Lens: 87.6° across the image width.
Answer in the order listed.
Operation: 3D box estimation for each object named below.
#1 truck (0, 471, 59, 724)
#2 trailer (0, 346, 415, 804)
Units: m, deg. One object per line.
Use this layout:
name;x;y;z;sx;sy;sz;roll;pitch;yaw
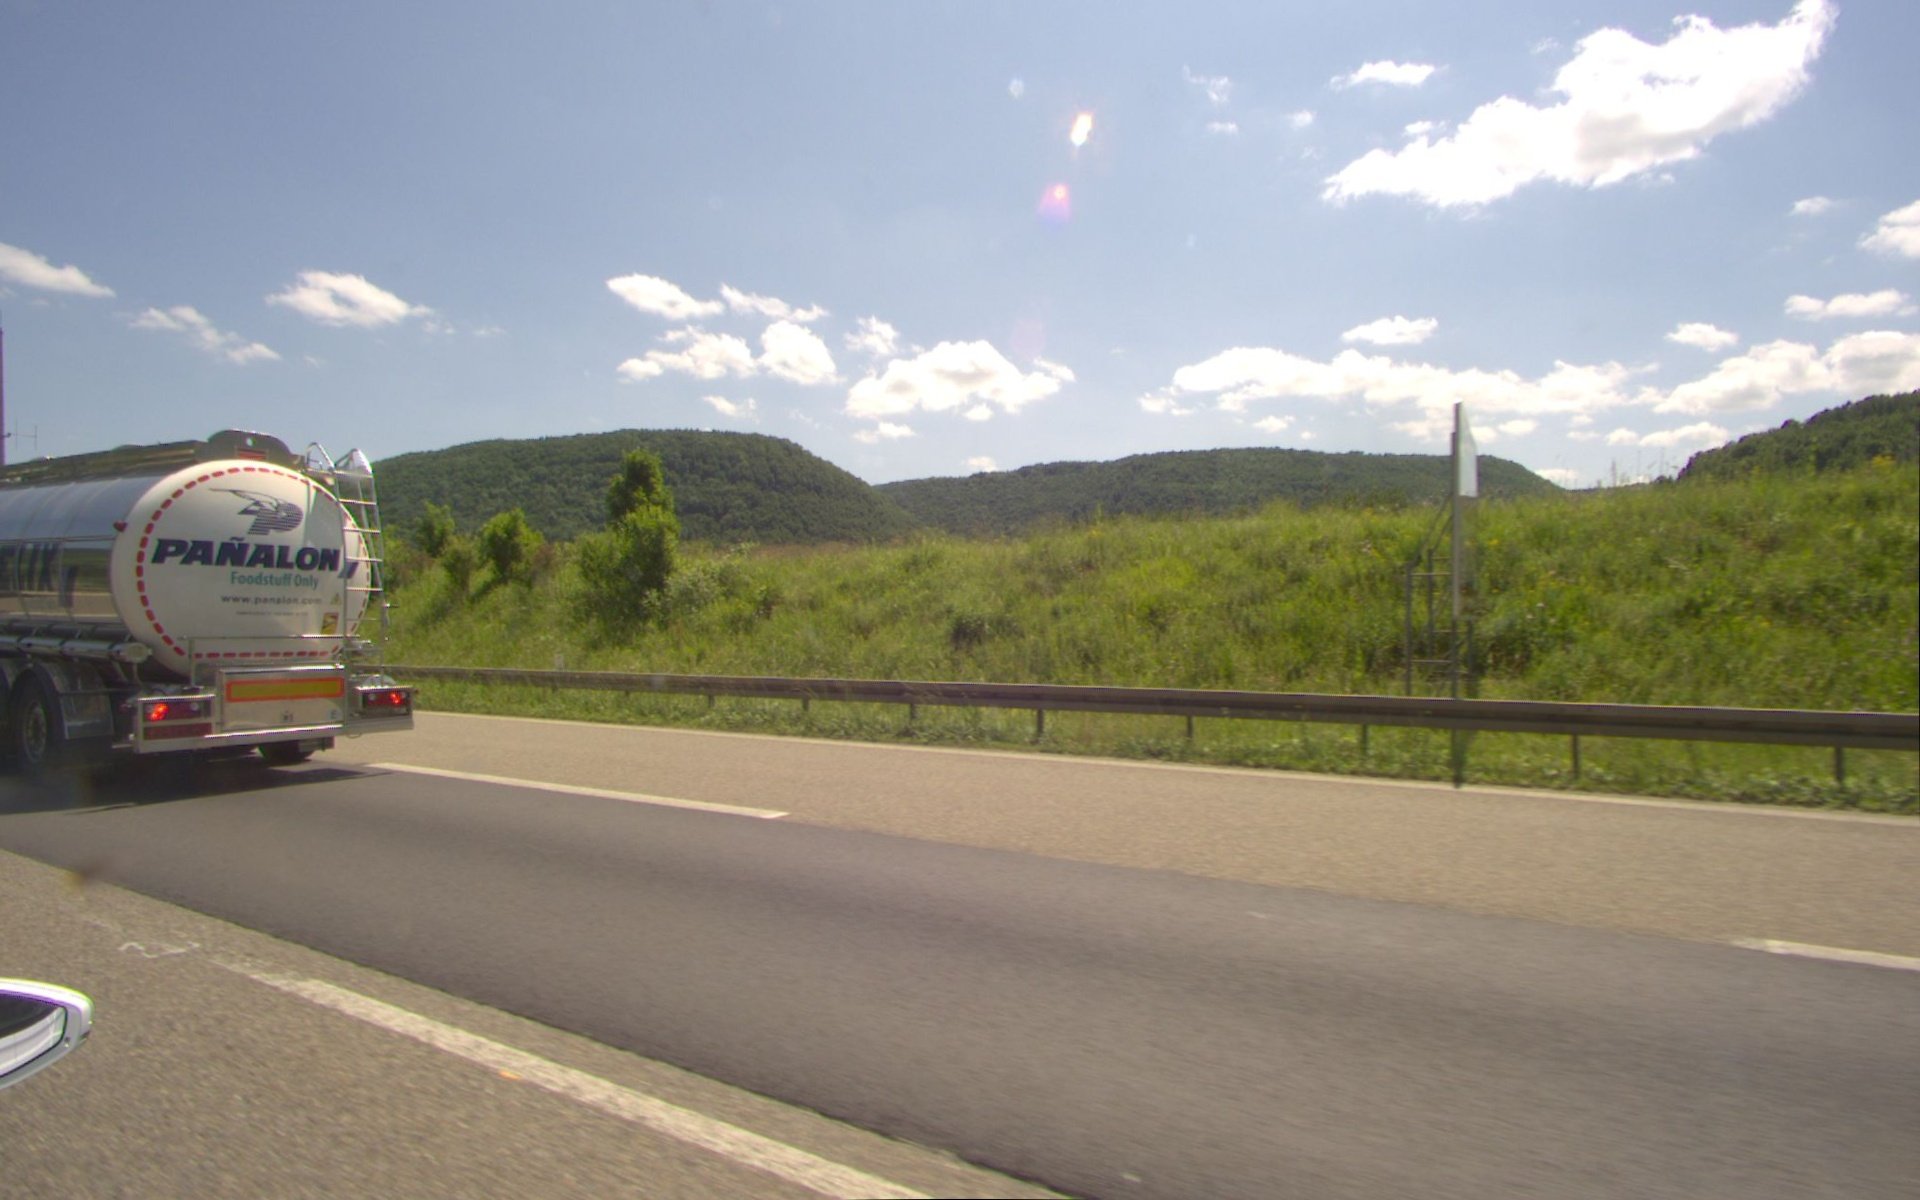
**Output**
truck;-16.928;-0.023;15.924;5.169;3.807;2.508;-1;-1;31
trailer;-11.339;-0.103;12.433;11.718;3.784;2.534;-1;-1;32
